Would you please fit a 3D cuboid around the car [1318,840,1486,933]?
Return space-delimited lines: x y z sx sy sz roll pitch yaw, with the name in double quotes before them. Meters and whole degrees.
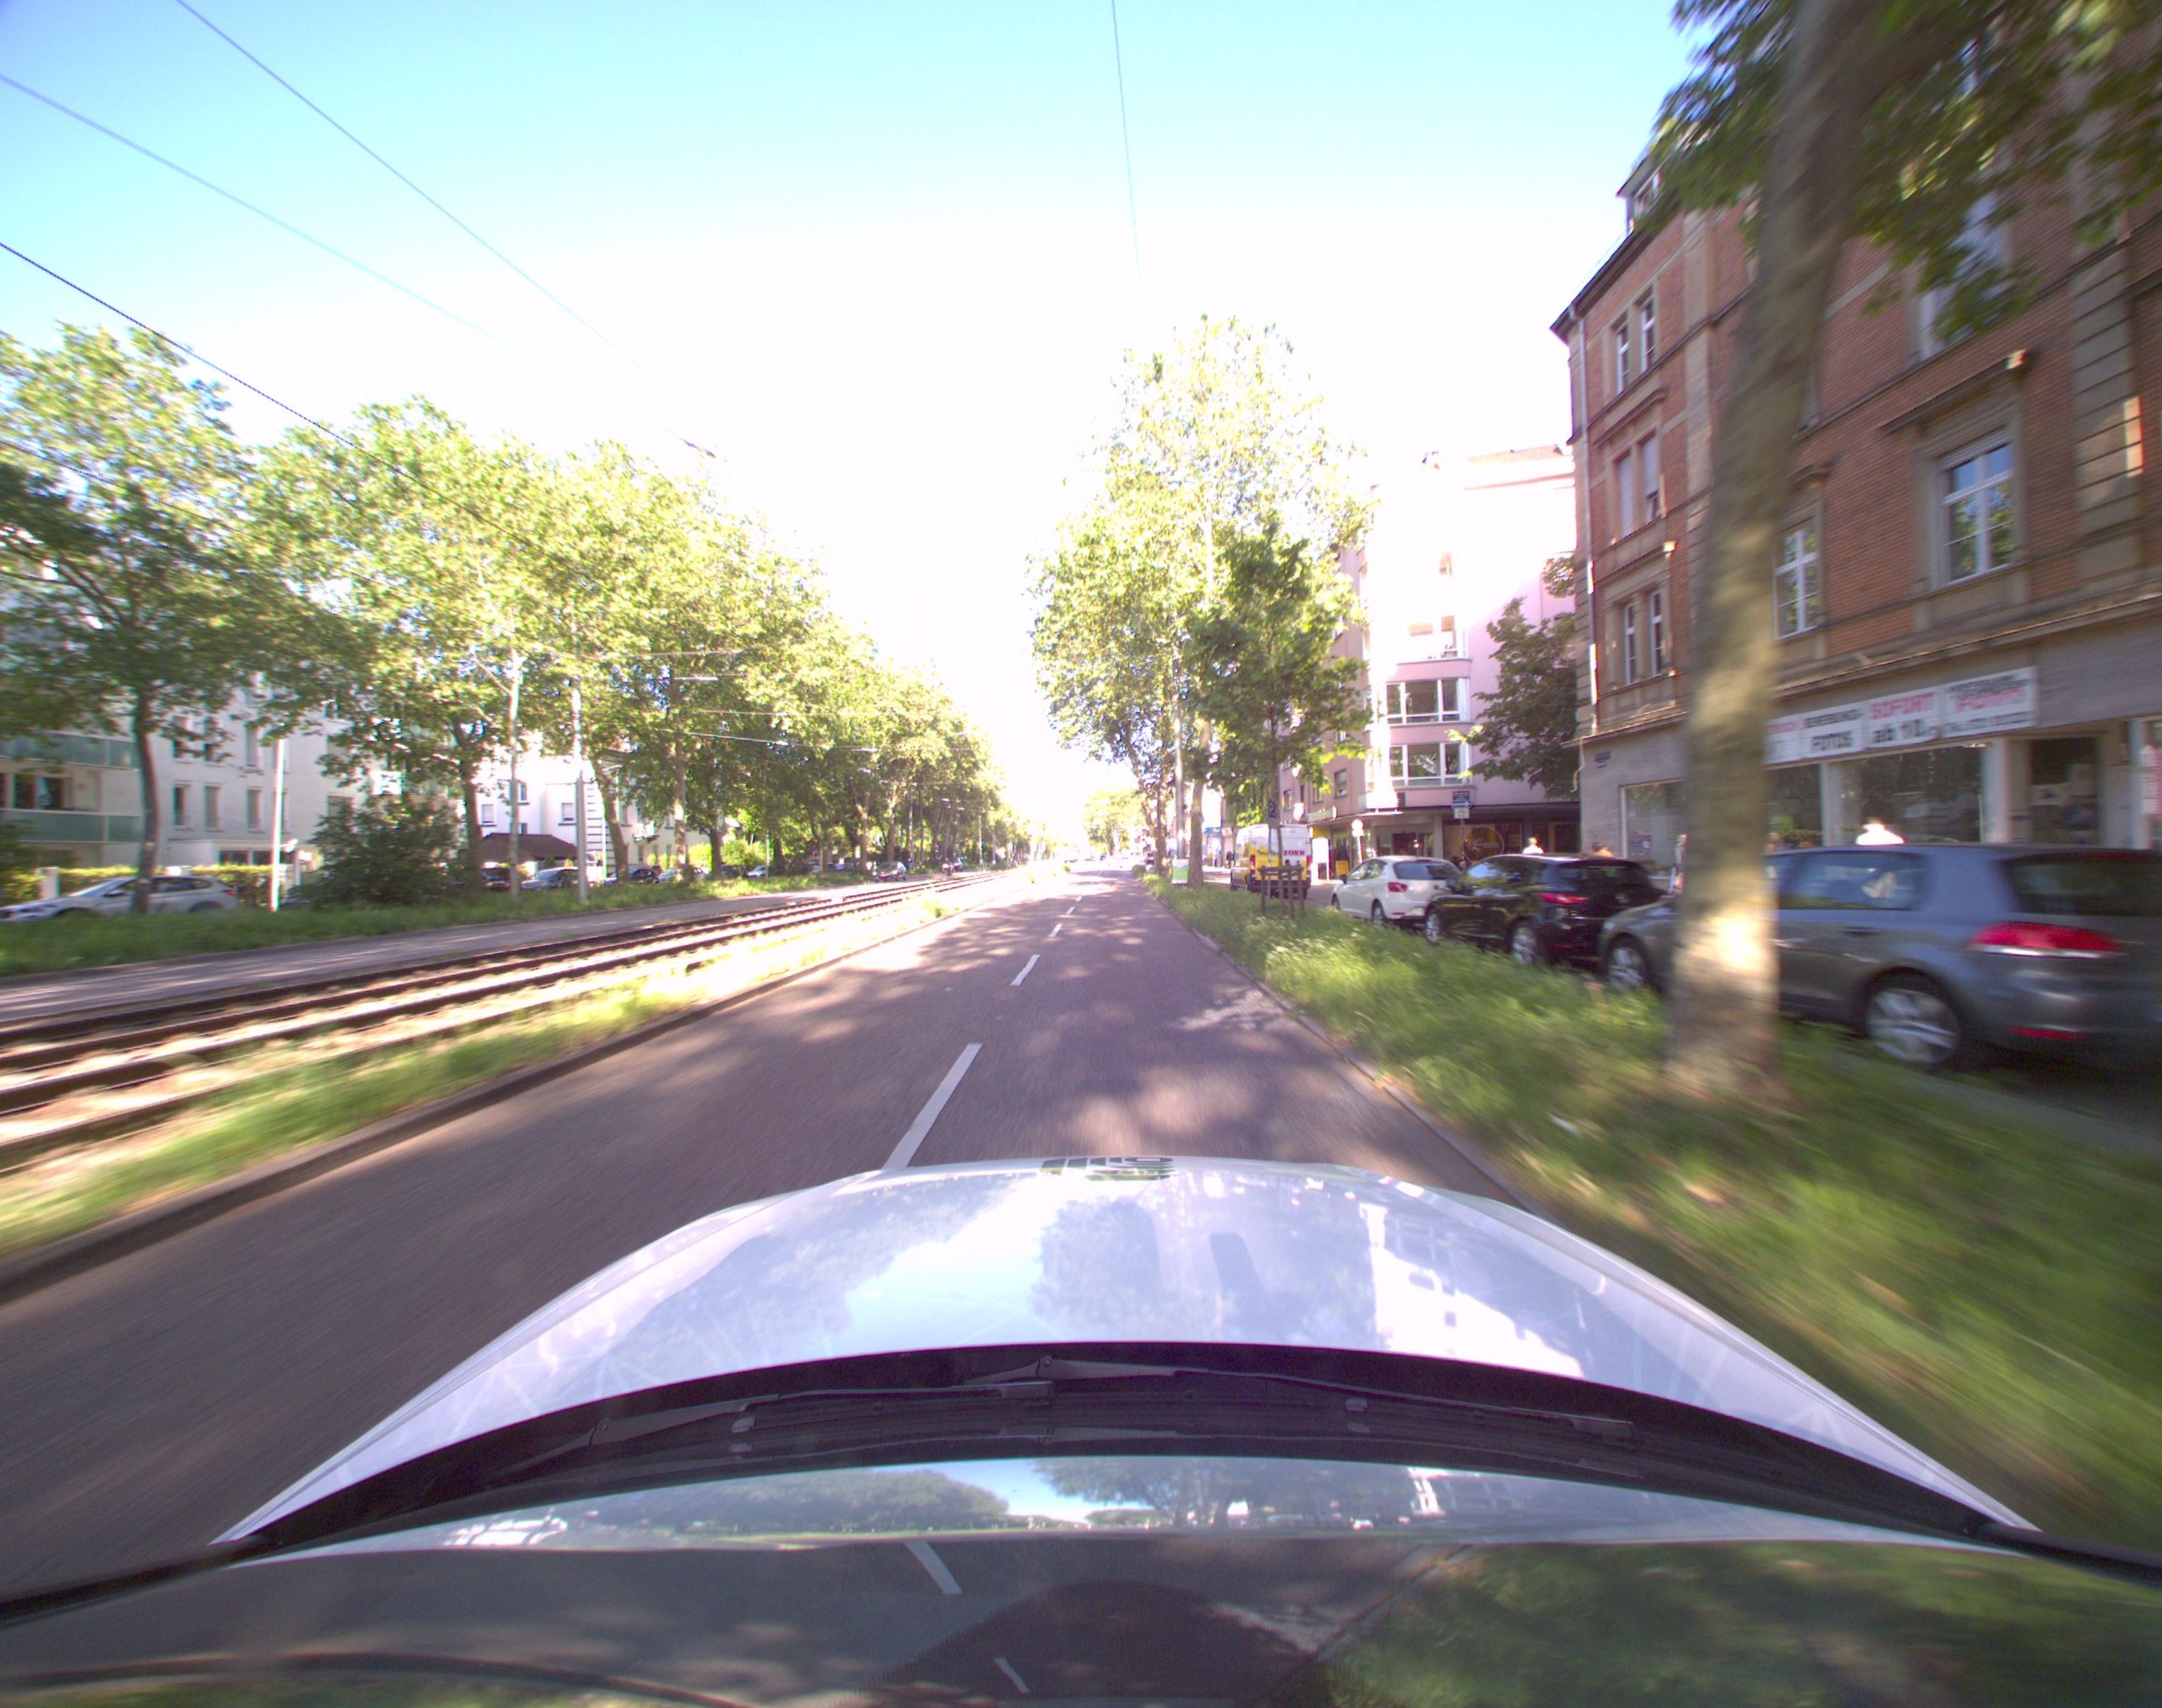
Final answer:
"car" 6.181 0.582 16.229 1.747 1.572 4.185 1 0 1

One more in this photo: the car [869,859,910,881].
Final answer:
"car" -14.307 1.161 61.011 1.788 1.508 4.341 -4 -1 2

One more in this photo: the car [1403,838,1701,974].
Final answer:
"car" 6.148 0.601 11.285 1.747 1.496 4.185 1 0 1

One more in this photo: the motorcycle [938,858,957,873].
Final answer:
"motorcycle" -11.297 0.984 69.123 0.960 1.212 3.353 -2 0 2

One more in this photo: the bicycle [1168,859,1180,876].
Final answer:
"bicycle" 5.409 0.778 47.601 0.586 0.990 1.451 -2 0 3

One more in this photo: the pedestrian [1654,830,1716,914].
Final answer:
"pedestrian" 12.489 0.360 16.858 0.689 1.684 0.753 -1 -1 2

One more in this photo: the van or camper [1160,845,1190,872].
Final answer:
"van or camper" 7.202 0.318 62.657 1.833 1.963 5.127 -1 0 1

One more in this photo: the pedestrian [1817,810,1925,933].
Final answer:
"pedestrian" 12.036 0.264 12.442 0.689 1.788 0.958 -1 -1 2

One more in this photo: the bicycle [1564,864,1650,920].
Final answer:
"bicycle" 11.257 0.783 17.503 0.667 1.127 1.900 -1 -1 2

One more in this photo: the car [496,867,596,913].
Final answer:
"car" -25.859 1.686 39.542 1.986 2.013 4.094 -1 0 2

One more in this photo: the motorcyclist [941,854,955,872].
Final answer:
"motorcyclist" -11.286 0.765 69.149 0.940 1.513 0.959 -2 0 1

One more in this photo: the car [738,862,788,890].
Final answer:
"car" -25.293 1.722 64.891 1.986 2.013 4.686 -1 0 2

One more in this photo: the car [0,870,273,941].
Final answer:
"car" -26.533 1.372 22.878 2.014 1.598 5.104 -4 -1 11

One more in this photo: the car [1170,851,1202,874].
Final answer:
"car" 7.351 0.602 57.242 1.678 1.514 3.665 0 0 -1

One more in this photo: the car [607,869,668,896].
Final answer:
"car" -34.654 2.217 63.688 3.793 1.938 1.714 -1 0 0

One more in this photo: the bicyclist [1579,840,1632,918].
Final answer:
"bicyclist" 11.267 0.530 17.503 0.656 1.615 0.698 -1 -1 2

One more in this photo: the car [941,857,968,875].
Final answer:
"car" -14.571 1.359 93.952 1.986 1.870 4.875 -3 0 2

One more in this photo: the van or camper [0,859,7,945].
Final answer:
"van or camper" -26.378 1.128 16.503 2.258 2.014 5.217 -1 -1 1

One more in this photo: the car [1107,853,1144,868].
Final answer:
"car" 5.375 0.803 98.498 3.948 1.662 2.041 -1 0 38

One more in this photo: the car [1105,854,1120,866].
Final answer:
"car" 4.435 0.842 114.823 2.014 1.662 4.000 -1 0 1

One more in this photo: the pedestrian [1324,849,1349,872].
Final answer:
"pedestrian" 14.327 0.364 45.674 1.139 1.256 0.749 -1 0 2

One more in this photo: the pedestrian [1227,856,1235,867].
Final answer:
"pedestrian" 15.086 0.761 81.947 0.704 1.151 0.740 -1 -1 2

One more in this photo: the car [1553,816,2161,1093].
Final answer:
"car" 5.916 0.560 6.541 1.731 1.464 4.365 1 0 0

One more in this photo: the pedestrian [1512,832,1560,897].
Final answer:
"pedestrian" 12.591 0.279 22.568 0.689 1.755 1.080 -1 0 2

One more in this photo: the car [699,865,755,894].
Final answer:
"car" -25.318 1.790 58.404 1.814 1.836 4.556 -1 0 2

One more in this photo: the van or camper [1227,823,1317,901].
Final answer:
"van or camper" 6.751 0.277 29.520 2.174 2.480 6.274 1 0 4

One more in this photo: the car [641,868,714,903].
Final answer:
"car" -25.553 1.953 51.776 1.985 2.013 4.689 -1 0 4

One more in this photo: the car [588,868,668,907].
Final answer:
"car" -25.598 1.844 46.202 1.985 2.013 4.106 -1 0 3
